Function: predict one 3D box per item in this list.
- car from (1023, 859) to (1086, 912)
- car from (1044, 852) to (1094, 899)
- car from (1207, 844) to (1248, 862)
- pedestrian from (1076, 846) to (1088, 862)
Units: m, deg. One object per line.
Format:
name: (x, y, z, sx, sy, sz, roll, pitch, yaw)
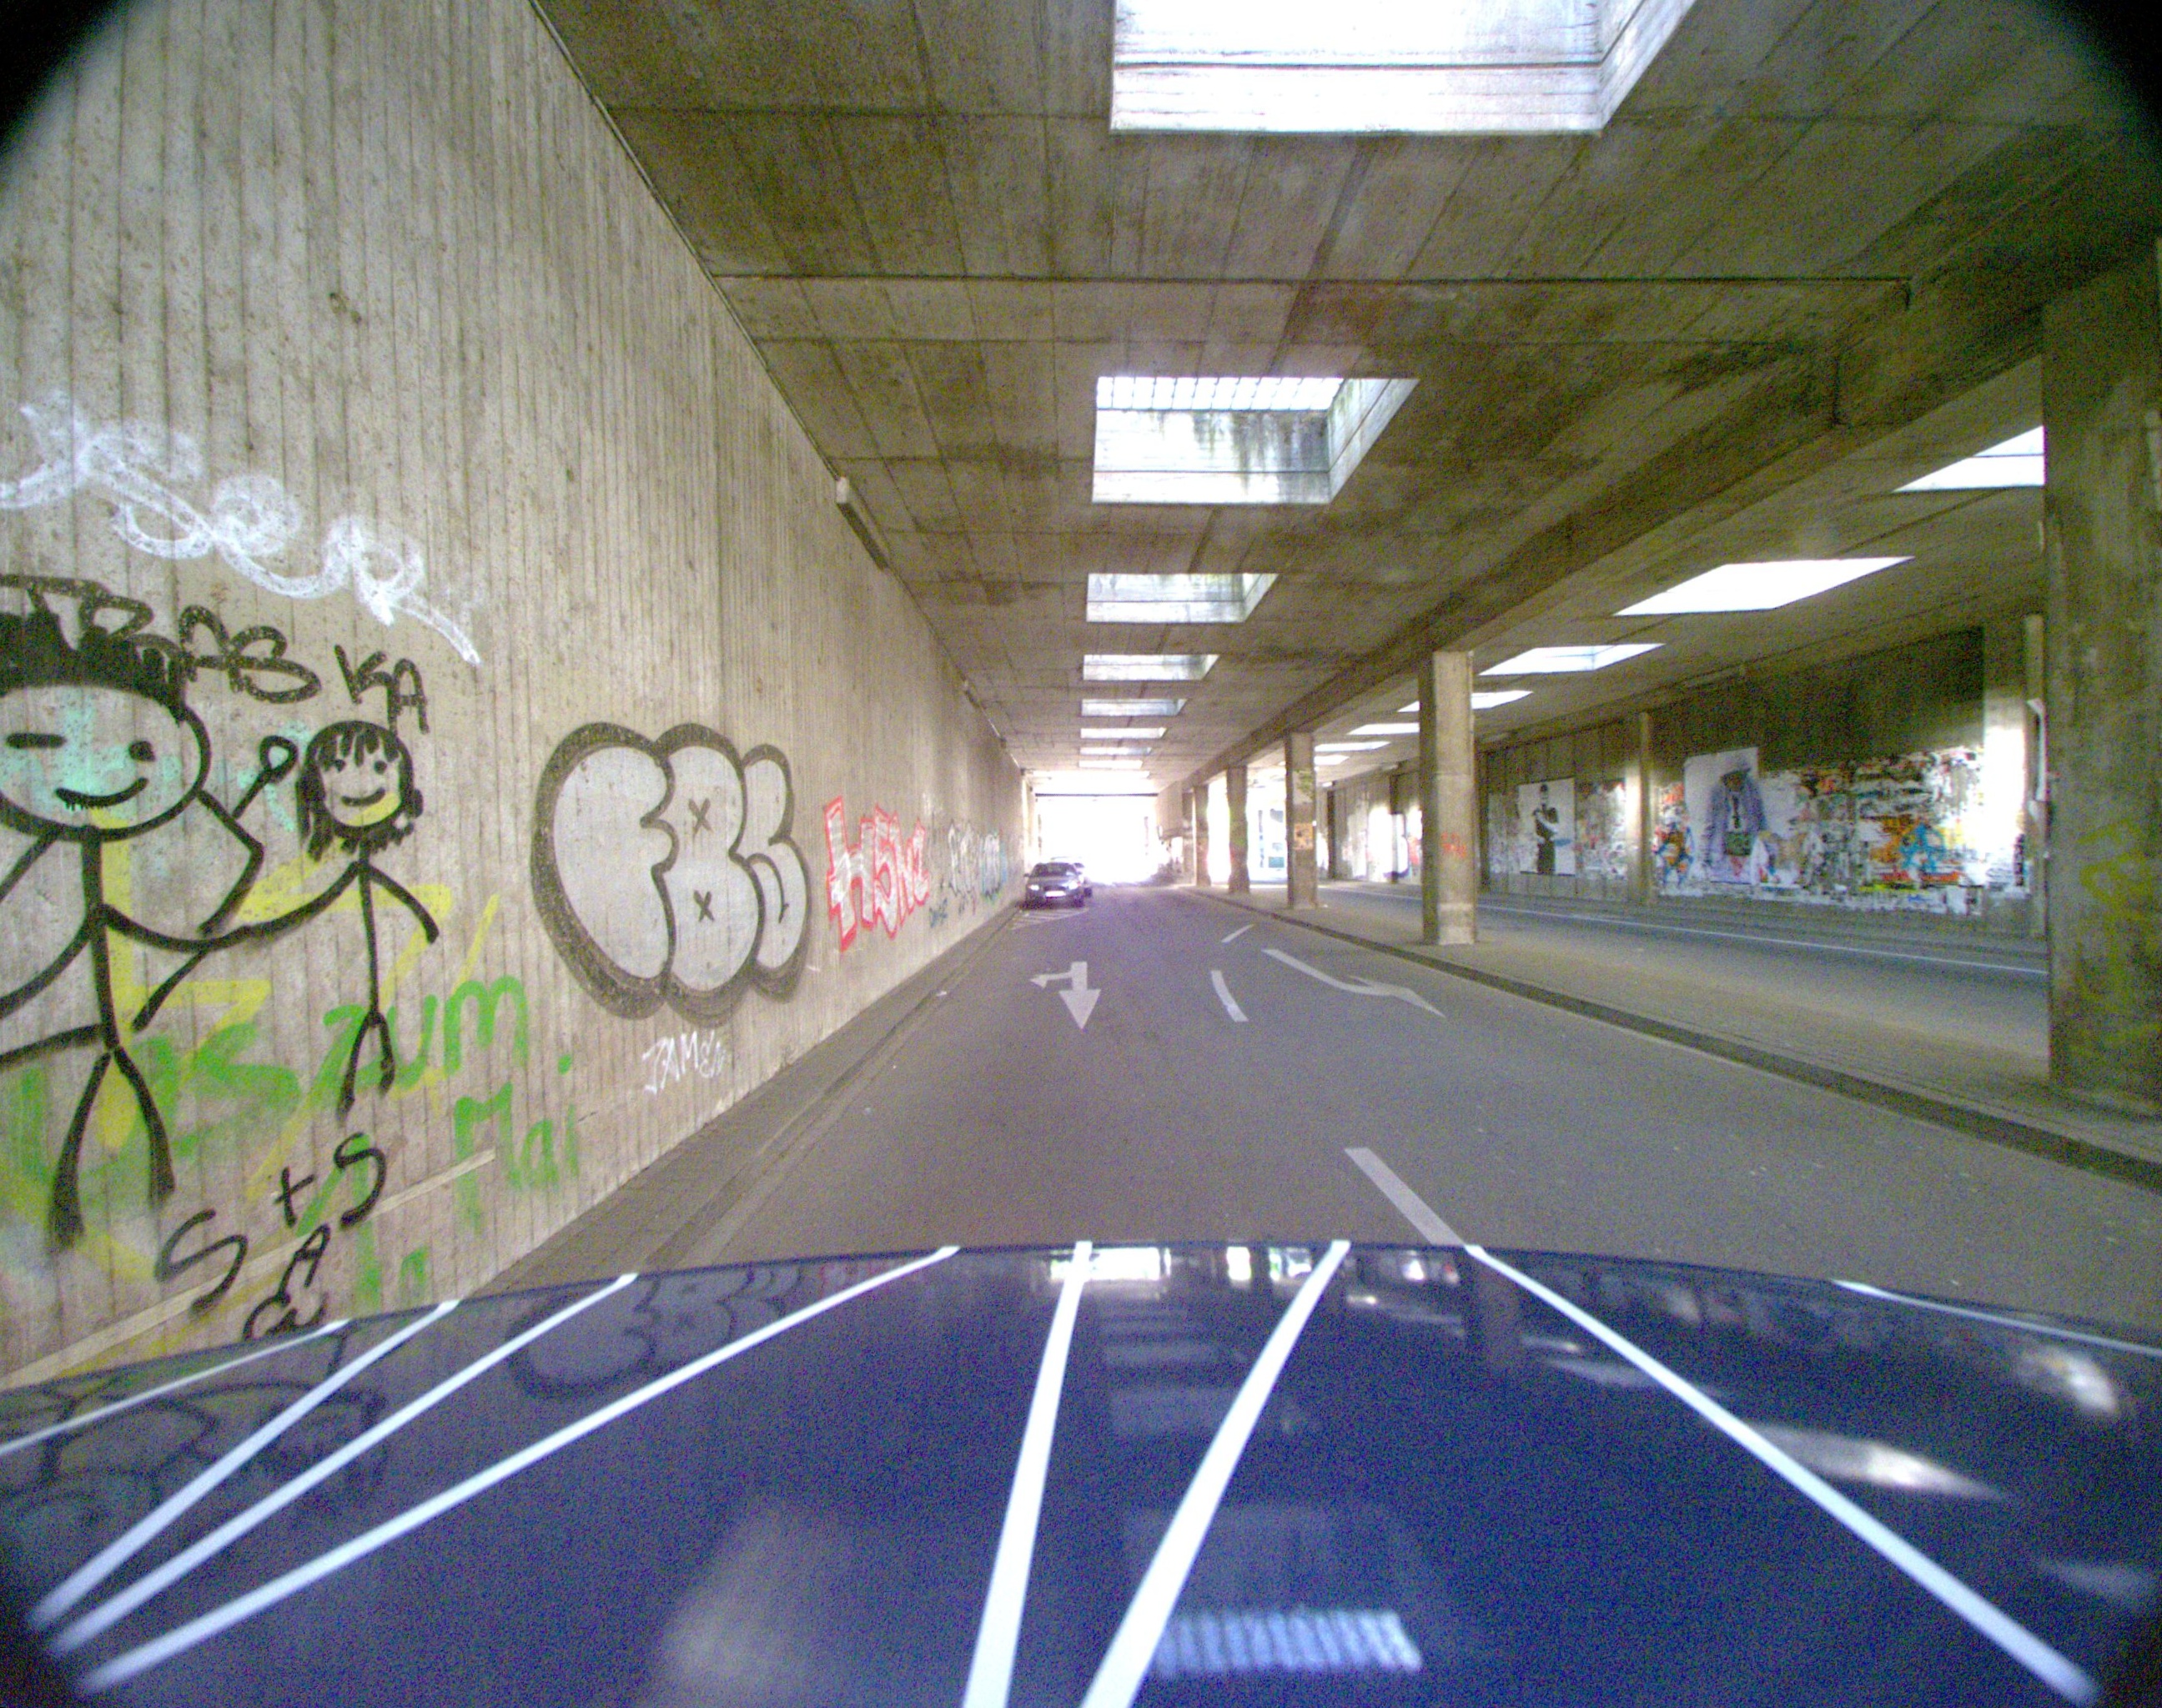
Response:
car: (-0.752, 0.915, 24.010, 1.767, 1.407, 3.999, -2, 1, 1)
car: (-0.499, 0.776, 29.793, 1.767, 1.634, 3.999, -2, 1, -2)
car: (15.261, -0.092, 79.229, 3.995, 1.740, 2.001, -2, 1, 6)
pedestrian: (0.118, -0.017, 95.185, 1.215, 2.002, 1.489, -2, 1, -4)
